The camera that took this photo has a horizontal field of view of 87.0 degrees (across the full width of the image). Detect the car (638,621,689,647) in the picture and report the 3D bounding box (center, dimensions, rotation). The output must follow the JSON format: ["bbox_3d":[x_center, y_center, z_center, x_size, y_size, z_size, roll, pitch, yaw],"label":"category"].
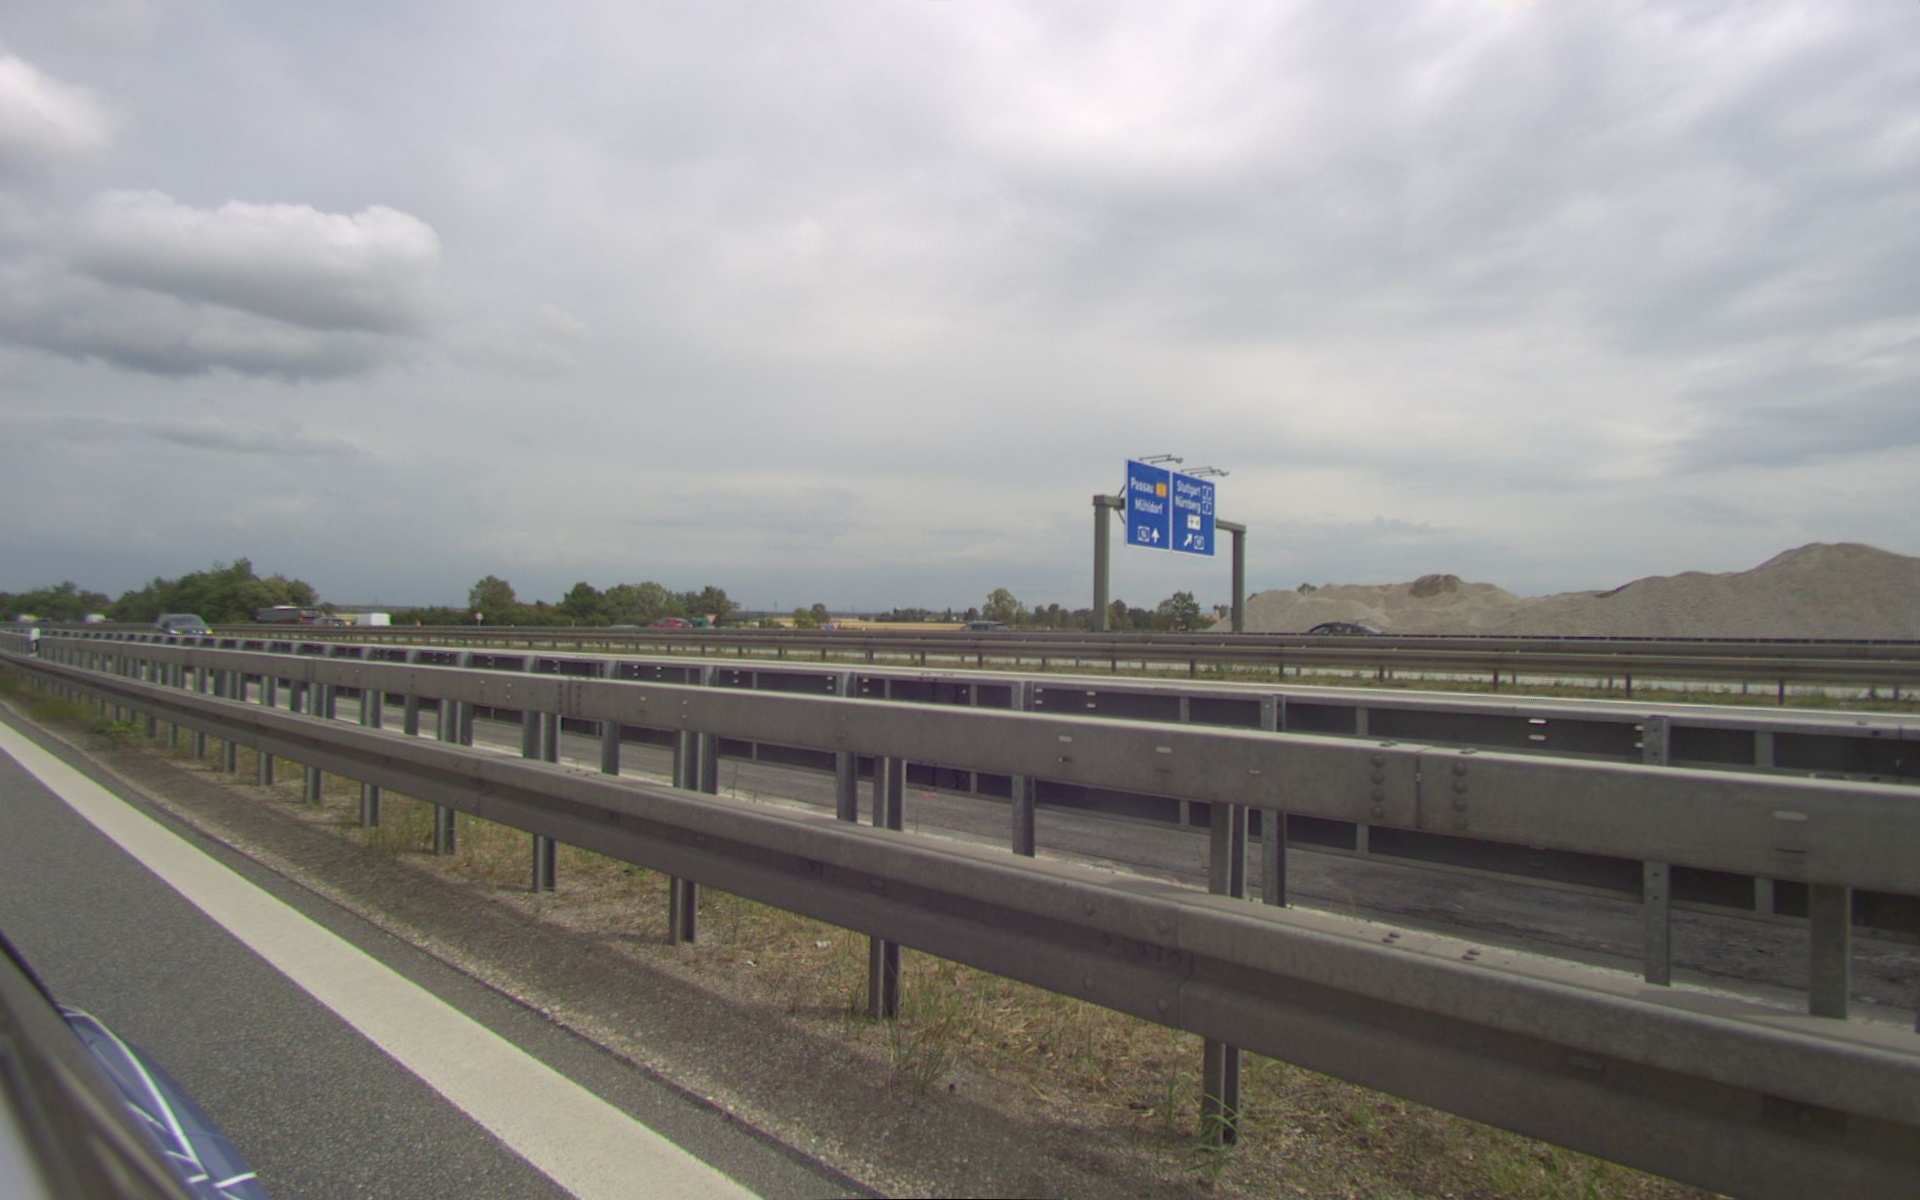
[{"bbox_3d":[-22.070,2.495,75.182,3.999,1.874,1.779,-1,0,42],"label":"car"}]

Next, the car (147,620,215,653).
[{"bbox_3d":[-40.312,1.844,52.330,4.611,1.558,1.862,-1,0,40],"label":"car"}]

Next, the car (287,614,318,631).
[{"bbox_3d":[-77.523,2.651,119.311,3.993,1.874,1.809,-1,0,37],"label":"car"}]

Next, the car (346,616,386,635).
[{"bbox_3d":[-62.651,2.682,106.729,4.745,1.874,2.080,-1,0,39],"label":"car"}]
